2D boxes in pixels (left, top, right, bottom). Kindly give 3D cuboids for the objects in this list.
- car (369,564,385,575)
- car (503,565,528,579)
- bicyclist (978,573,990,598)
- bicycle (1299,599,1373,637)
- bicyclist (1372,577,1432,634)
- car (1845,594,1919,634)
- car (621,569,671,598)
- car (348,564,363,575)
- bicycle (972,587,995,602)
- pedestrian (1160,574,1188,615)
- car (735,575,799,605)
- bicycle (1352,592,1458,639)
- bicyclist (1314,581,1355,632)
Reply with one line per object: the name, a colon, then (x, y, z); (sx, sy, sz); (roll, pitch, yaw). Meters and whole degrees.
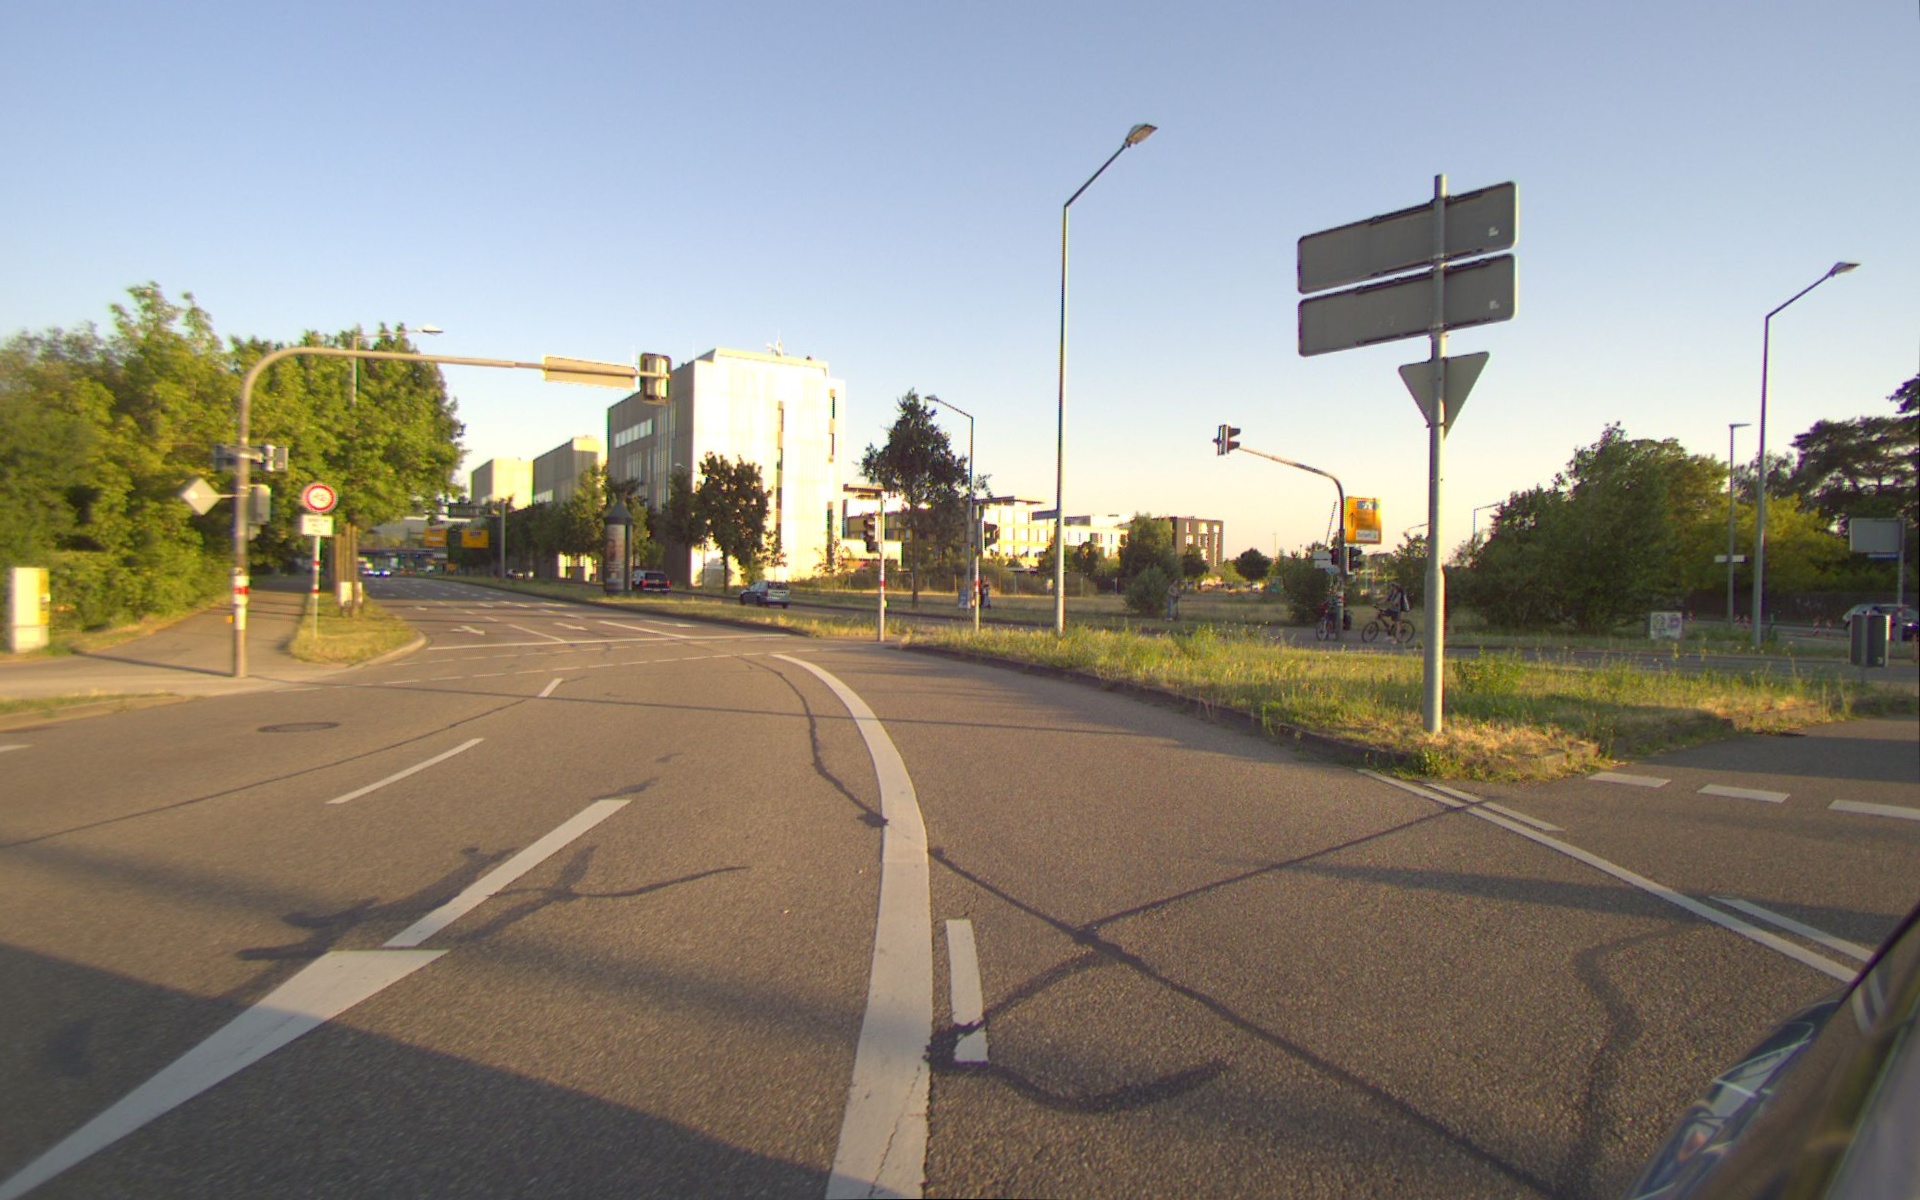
car: (-85.076, -4.462, 147.621); (1.961, 1.635, 4.003); (0, 1, -32)
car: (-51.706, -3.253, 117.657); (1.961, 1.566, 4.132); (0, 1, -34)
bicyclist: (1.327, -0.799, 56.575); (0.465, 1.415, 0.448); (0, 1, -38)
bicycle: (12.527, 0.585, 33.738); (2.280, 1.193, 0.813); (-1, 2, -18)
bicyclist: (14.208, 0.175, 32.549); (1.388, 1.770, 1.126); (0, 2, -27)
car: (39.505, 0.569, 42.028); (1.808, 1.519, 4.254); (1, 2, 2)
car: (-20.232, -1.079, 65.135); (1.961, 1.772, 4.132); (0, 1, -34)
car: (-95.846, -4.843, 160.357); (1.961, 1.635, 4.003); (0, 1, -32)
bicycle: (1.314, -0.298, 56.597); (0.465, 0.801, 1.418); (0, 1, -37)
pedestrian: (9.032, -0.230, 42.747); (0.706, 1.722, 0.891); (1, 1, -31)
car: (-10.586, -0.569, 55.217); (1.961, 1.566, 4.132); (0, 1, -34)
bicycle: (14.253, 0.462, 32.356); (3.466, 1.412, 1.126); (0, 2, -27)
bicyclist: (12.468, 0.207, 33.685); (0.980, 1.652, 0.813); (-1, 2, -18)
